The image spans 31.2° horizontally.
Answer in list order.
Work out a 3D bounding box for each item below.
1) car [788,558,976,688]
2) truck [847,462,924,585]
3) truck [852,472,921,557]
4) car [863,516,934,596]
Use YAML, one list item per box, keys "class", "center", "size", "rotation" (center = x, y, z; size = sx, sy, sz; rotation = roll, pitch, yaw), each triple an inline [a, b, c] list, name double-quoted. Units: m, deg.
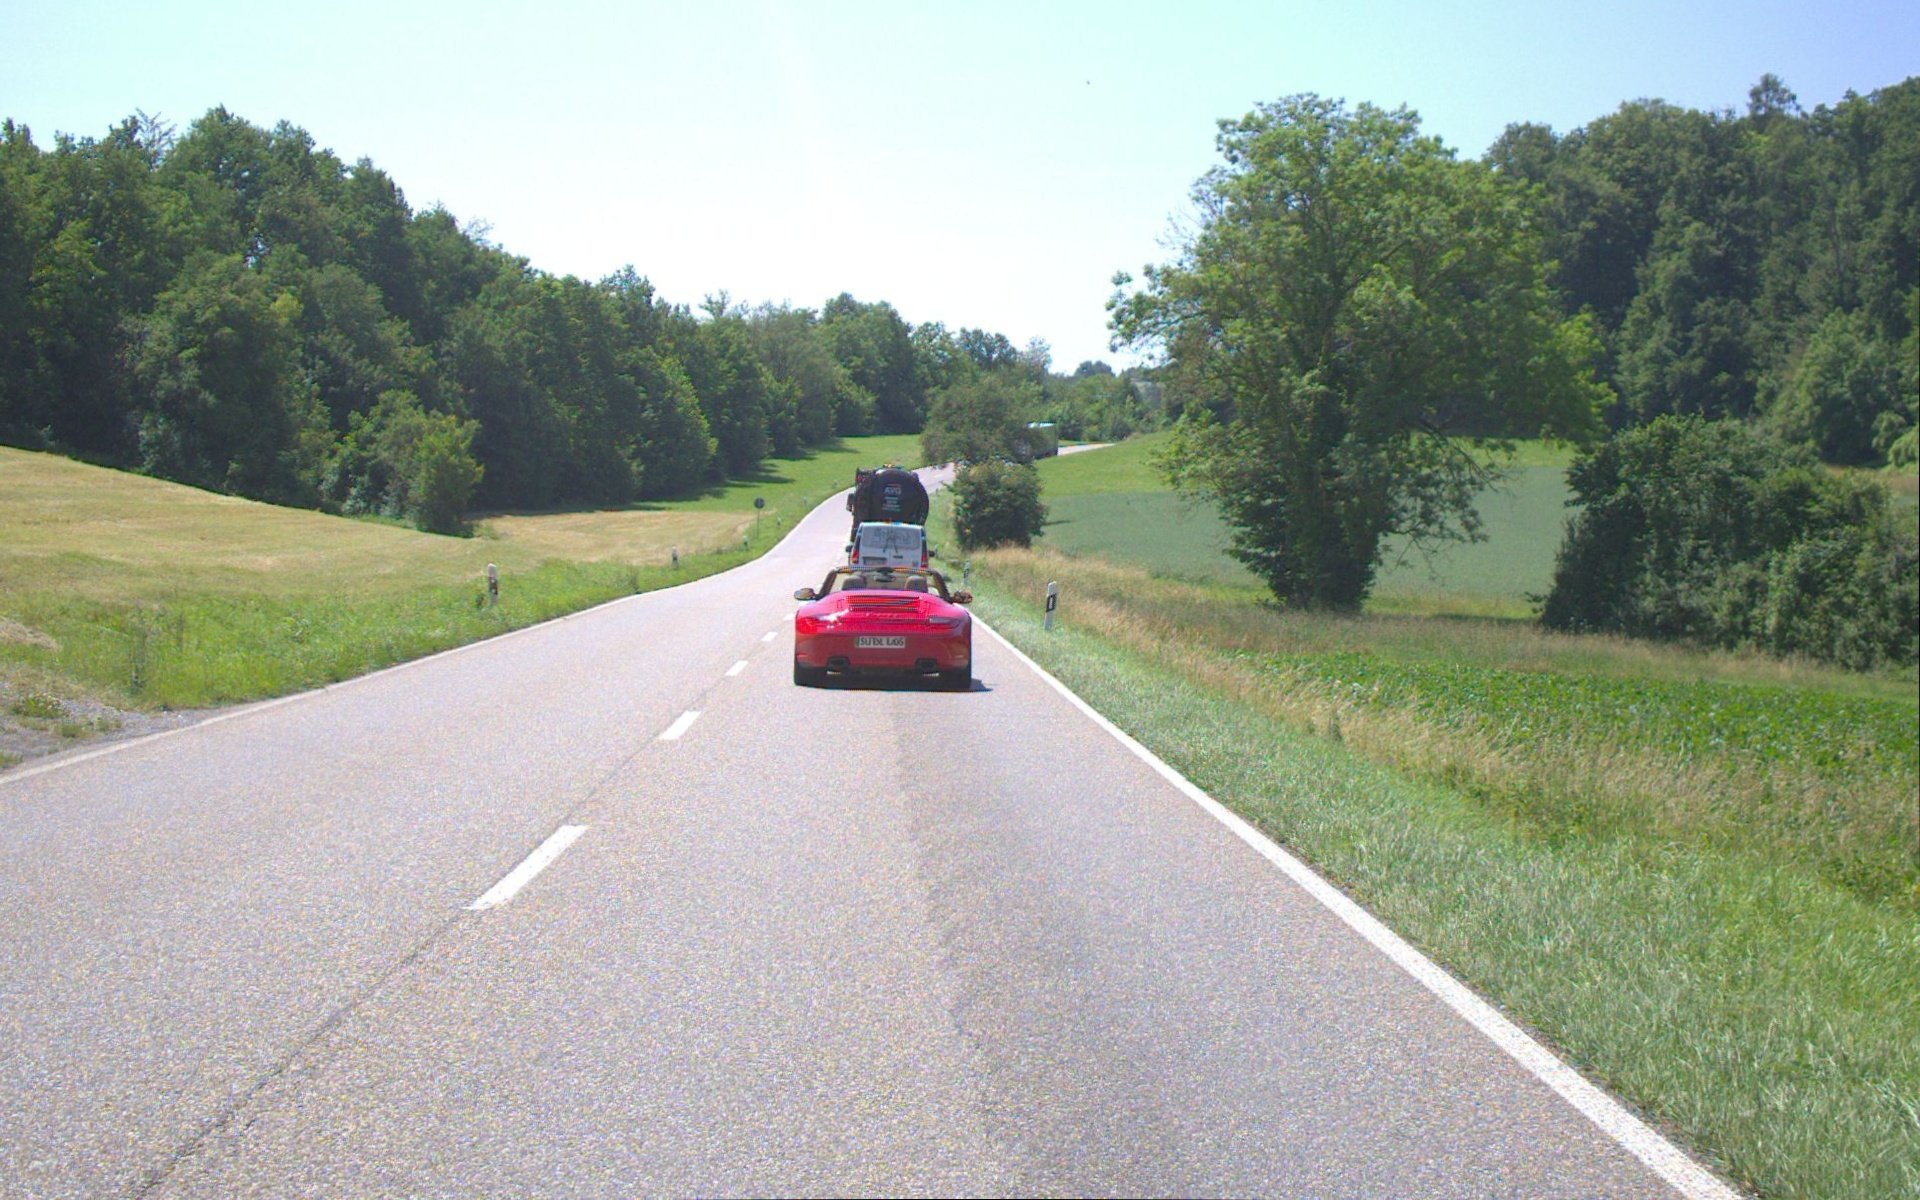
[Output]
- class: "car"
  center: [-0.848, 0.214, 36.938]
  size: [1.882, 1.250, 4.010]
  rotation: [1, 1, -2]
- class: "truck"
  center: [-2.676, -2.761, 120.121]
  size: [2.403, 4.035, 12.552]
  rotation: [1, 2, -2]
- class: "truck"
  center: [-4.452, -5.188, 205.751]
  size: [3.725, 4.644, 12.034]
  rotation: [1, 3, -3]
- class: "car"
  center: [-1.481, -1.085, 83.933]
  size: [1.678, 1.894, 4.010]
  rotation: [0, 1, -1]
